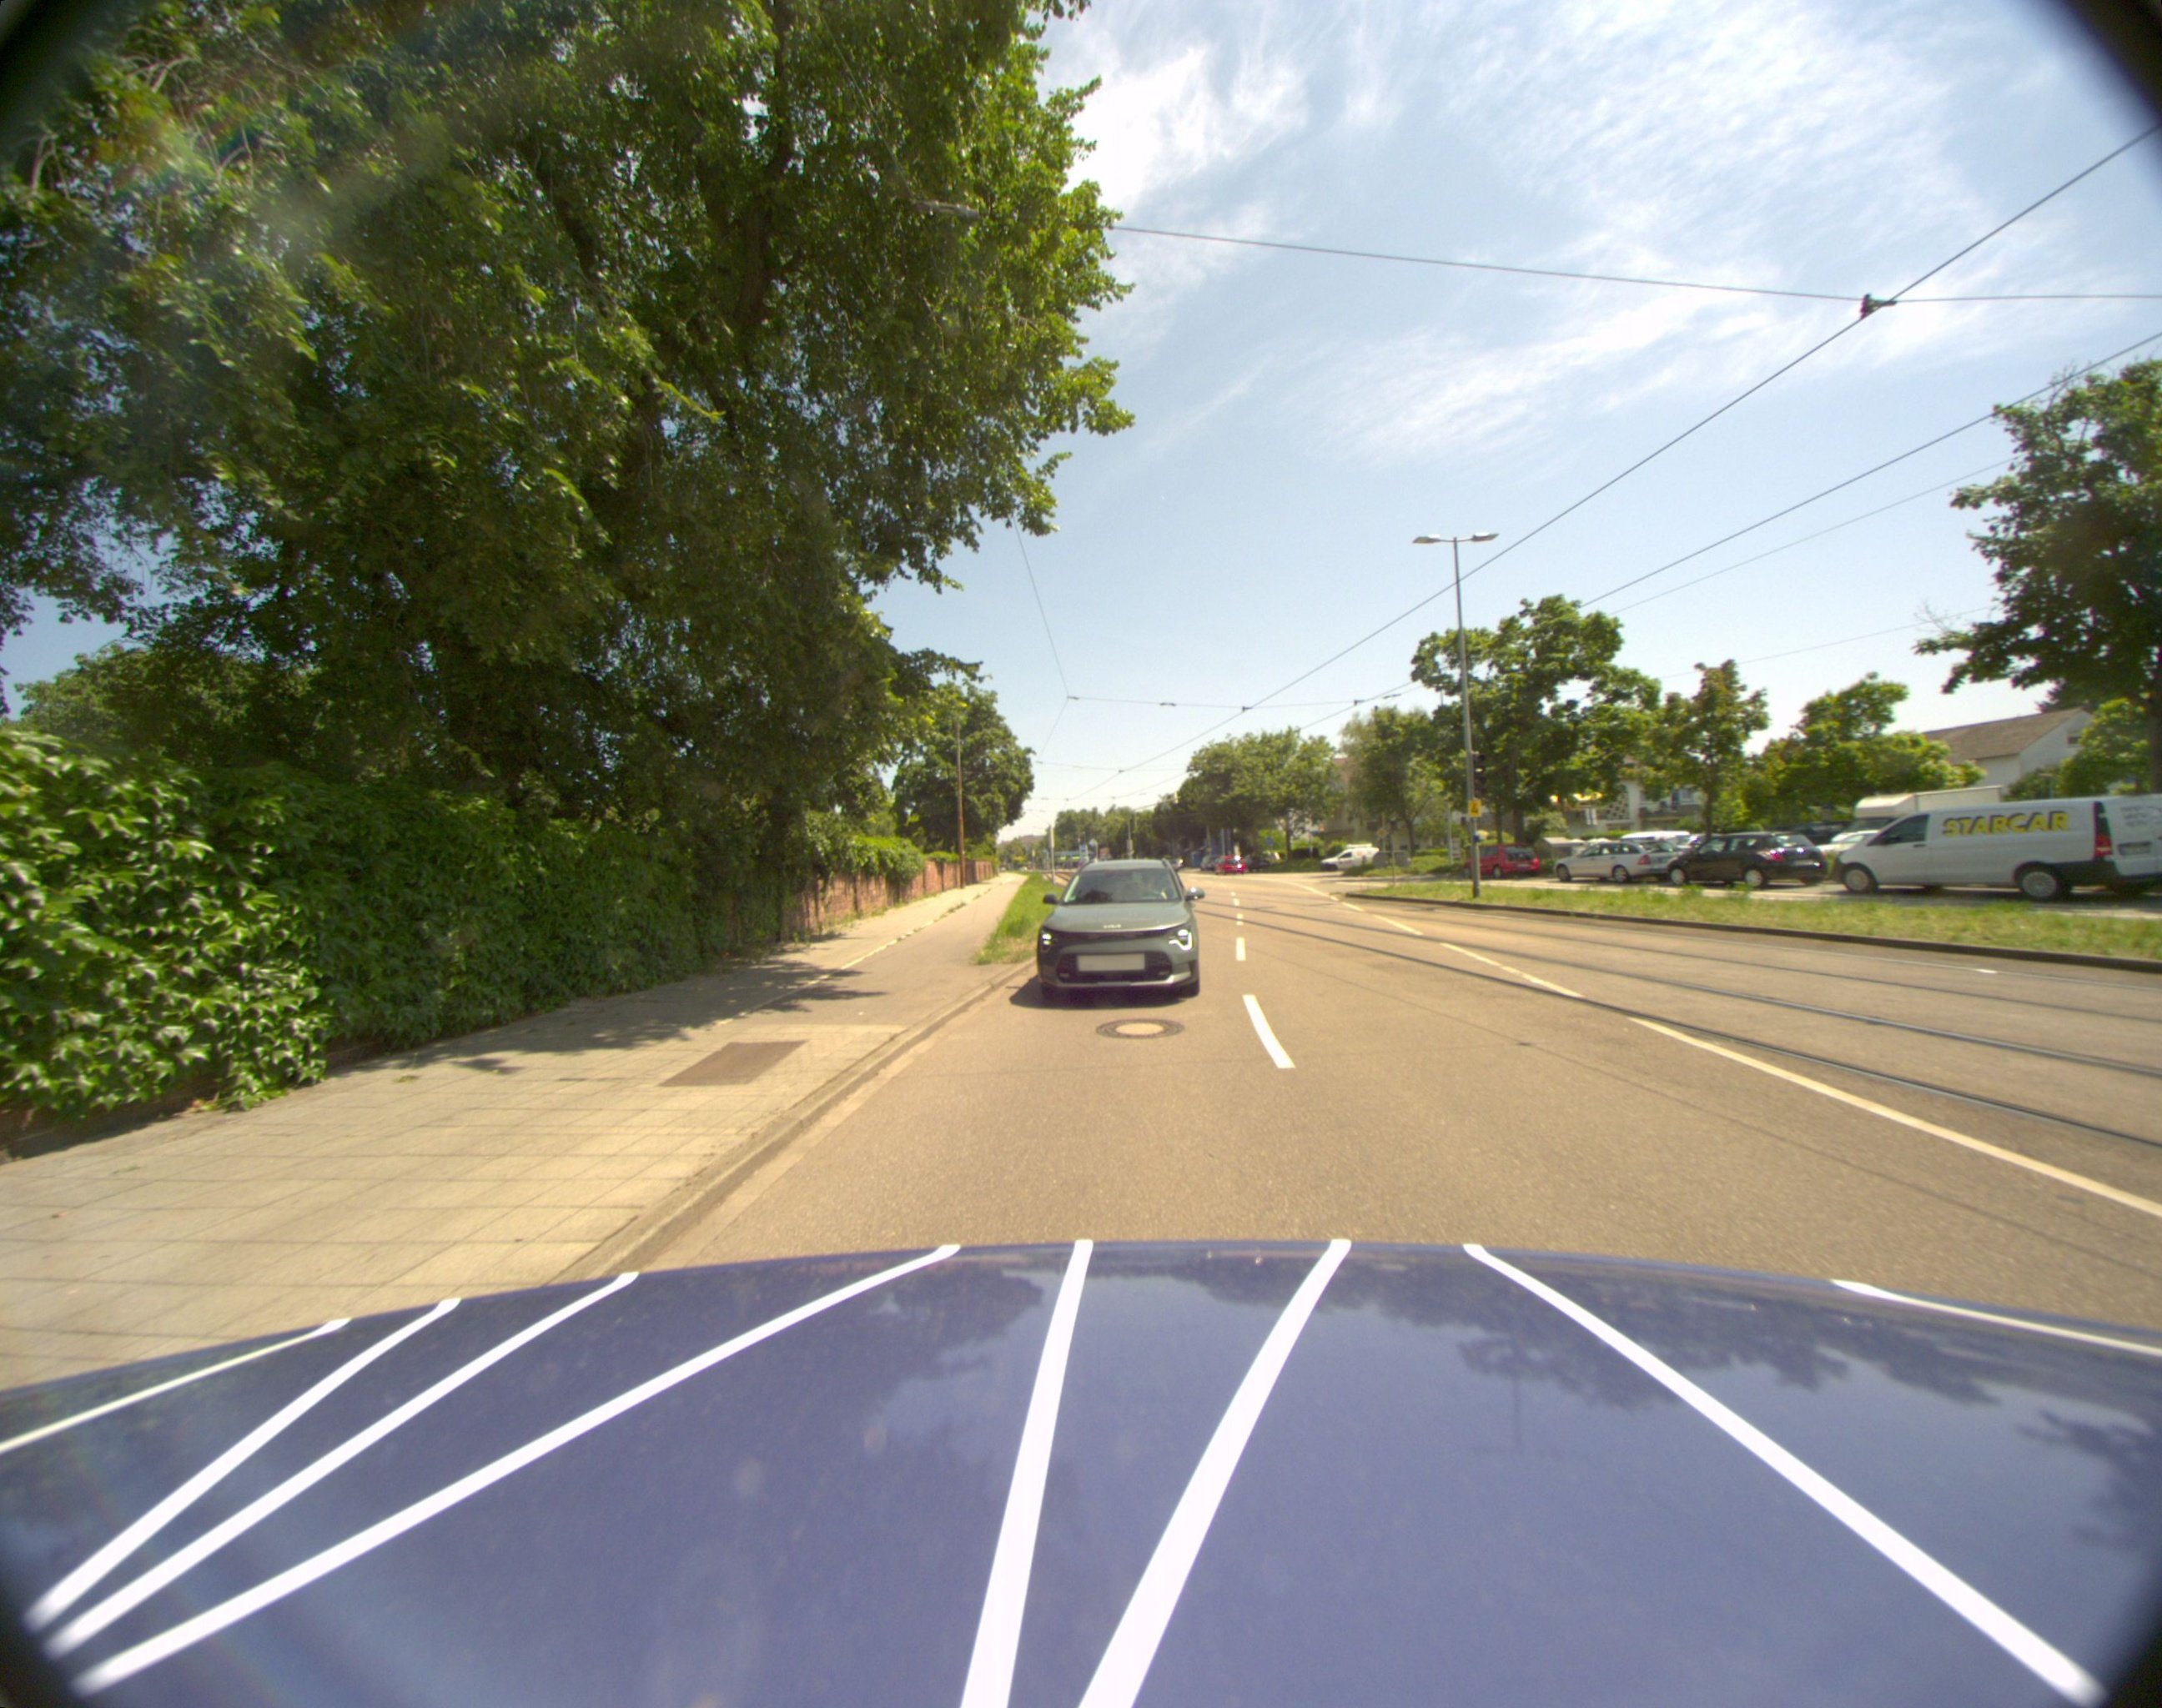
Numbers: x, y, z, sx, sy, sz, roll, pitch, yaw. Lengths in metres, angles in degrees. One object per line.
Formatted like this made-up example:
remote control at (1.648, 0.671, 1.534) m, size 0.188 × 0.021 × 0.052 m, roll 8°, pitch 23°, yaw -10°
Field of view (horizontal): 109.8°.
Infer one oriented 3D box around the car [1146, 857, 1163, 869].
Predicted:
car at (10.049, 1.242, 103.816) m, size 1.742 × 1.566 × 3.712 m, roll -2°, pitch 0°, yaw -3°

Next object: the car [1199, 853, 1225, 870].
car at (14.984, 0.843, 86.978) m, size 1.976 × 1.679 × 4.687 m, roll -4°, pitch 0°, yaw -2°

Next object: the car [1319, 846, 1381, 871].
car at (20.309, 0.322, 57.550) m, size 4.228 × 1.696 × 1.743 m, roll -3°, pitch 0°, yaw 12°

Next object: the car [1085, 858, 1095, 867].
car at (1.993, 1.967, 178.523) m, size 1.904 × 1.914 × 4.818 m, roll -1°, pitch 0°, yaw -5°

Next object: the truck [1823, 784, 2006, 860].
truck at (41.000, -1.537, 37.453) m, size 6.997 × 3.208 × 2.150 m, roll -3°, pitch 0°, yaw -5°

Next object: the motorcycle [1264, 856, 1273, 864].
motorcycle at (20.043, 0.605, 81.187) m, size 0.527 × 0.821 × 1.370 m, roll -6°, pitch 0°, yaw -2°

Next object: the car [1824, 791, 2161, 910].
car at (18.775, -0.072, 15.699) m, size 1.867 × 1.926 × 4.804 m, roll -6°, pitch 0°, yaw -2°

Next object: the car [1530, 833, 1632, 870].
car at (28.292, -0.124, 43.103) m, size 4.461 × 1.846 × 2.060 m, roll -3°, pitch 0°, yaw -5°

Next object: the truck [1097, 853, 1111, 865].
truck at (5.697, 1.253, 188.880) m, size 2.136 × 2.565 × 4.860 m, roll -4°, pitch 0°, yaw -12°

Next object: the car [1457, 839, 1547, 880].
car at (17.971, 0.204, 32.623) m, size 1.676 × 1.537 × 3.726 m, roll -4°, pitch 0°, yaw -1°

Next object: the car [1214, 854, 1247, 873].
car at (11.743, 0.742, 59.897) m, size 1.662 × 1.401 × 3.605 m, roll -2°, pitch 0°, yaw -3°

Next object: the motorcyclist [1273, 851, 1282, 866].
motorcyclist at (20.288, 0.477, 78.415) m, size 0.588 × 1.494 × 0.662 m, roll -6°, pitch 0°, yaw -2°

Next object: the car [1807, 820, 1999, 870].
car at (28.962, -0.313, 26.875) m, size 4.775 × 1.479 × 2.057 m, roll -3°, pitch 0°, yaw -4°

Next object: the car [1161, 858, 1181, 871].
car at (10.227, 1.181, 86.791) m, size 1.653 × 1.368 × 3.810 m, roll -1°, pitch 0°, yaw -3°

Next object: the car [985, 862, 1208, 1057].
car at (0.474, 0.983, 8.913) m, size 1.757 × 1.573 × 4.430 m, roll -4°, pitch 0°, yaw 11°

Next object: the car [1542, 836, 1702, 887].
car at (18.420, 0.257, 26.204) m, size 1.724 × 1.418 × 4.769 m, roll -6°, pitch 0°, yaw -5°

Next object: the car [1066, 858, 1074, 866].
car at (-2.884, 2.109, 204.769) m, size 1.924 × 1.899 × 4.570 m, roll -2°, pitch 0°, yaw -4°

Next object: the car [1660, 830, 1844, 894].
car at (18.533, 0.209, 21.233) m, size 1.618 × 1.475 × 3.784 m, roll -6°, pitch 0°, yaw -1°

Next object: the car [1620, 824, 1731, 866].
car at (29.671, -0.433, 37.985) m, size 4.278 × 1.825 × 1.673 m, roll -3°, pitch 0°, yaw -2°

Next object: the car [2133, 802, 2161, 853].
car at (40.884, -1.057, 27.116) m, size 4.139 × 1.810 × 1.970 m, roll -3°, pitch 0°, yaw -4°

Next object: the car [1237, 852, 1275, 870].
car at (16.023, 0.676, 69.784) m, size 1.899 × 1.448 × 4.808 m, roll -4°, pitch 0°, yaw -6°

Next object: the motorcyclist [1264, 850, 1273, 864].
motorcyclist at (20.016, 0.303, 81.064) m, size 0.588 × 1.494 × 0.725 m, roll -6°, pitch 0°, yaw -2°
